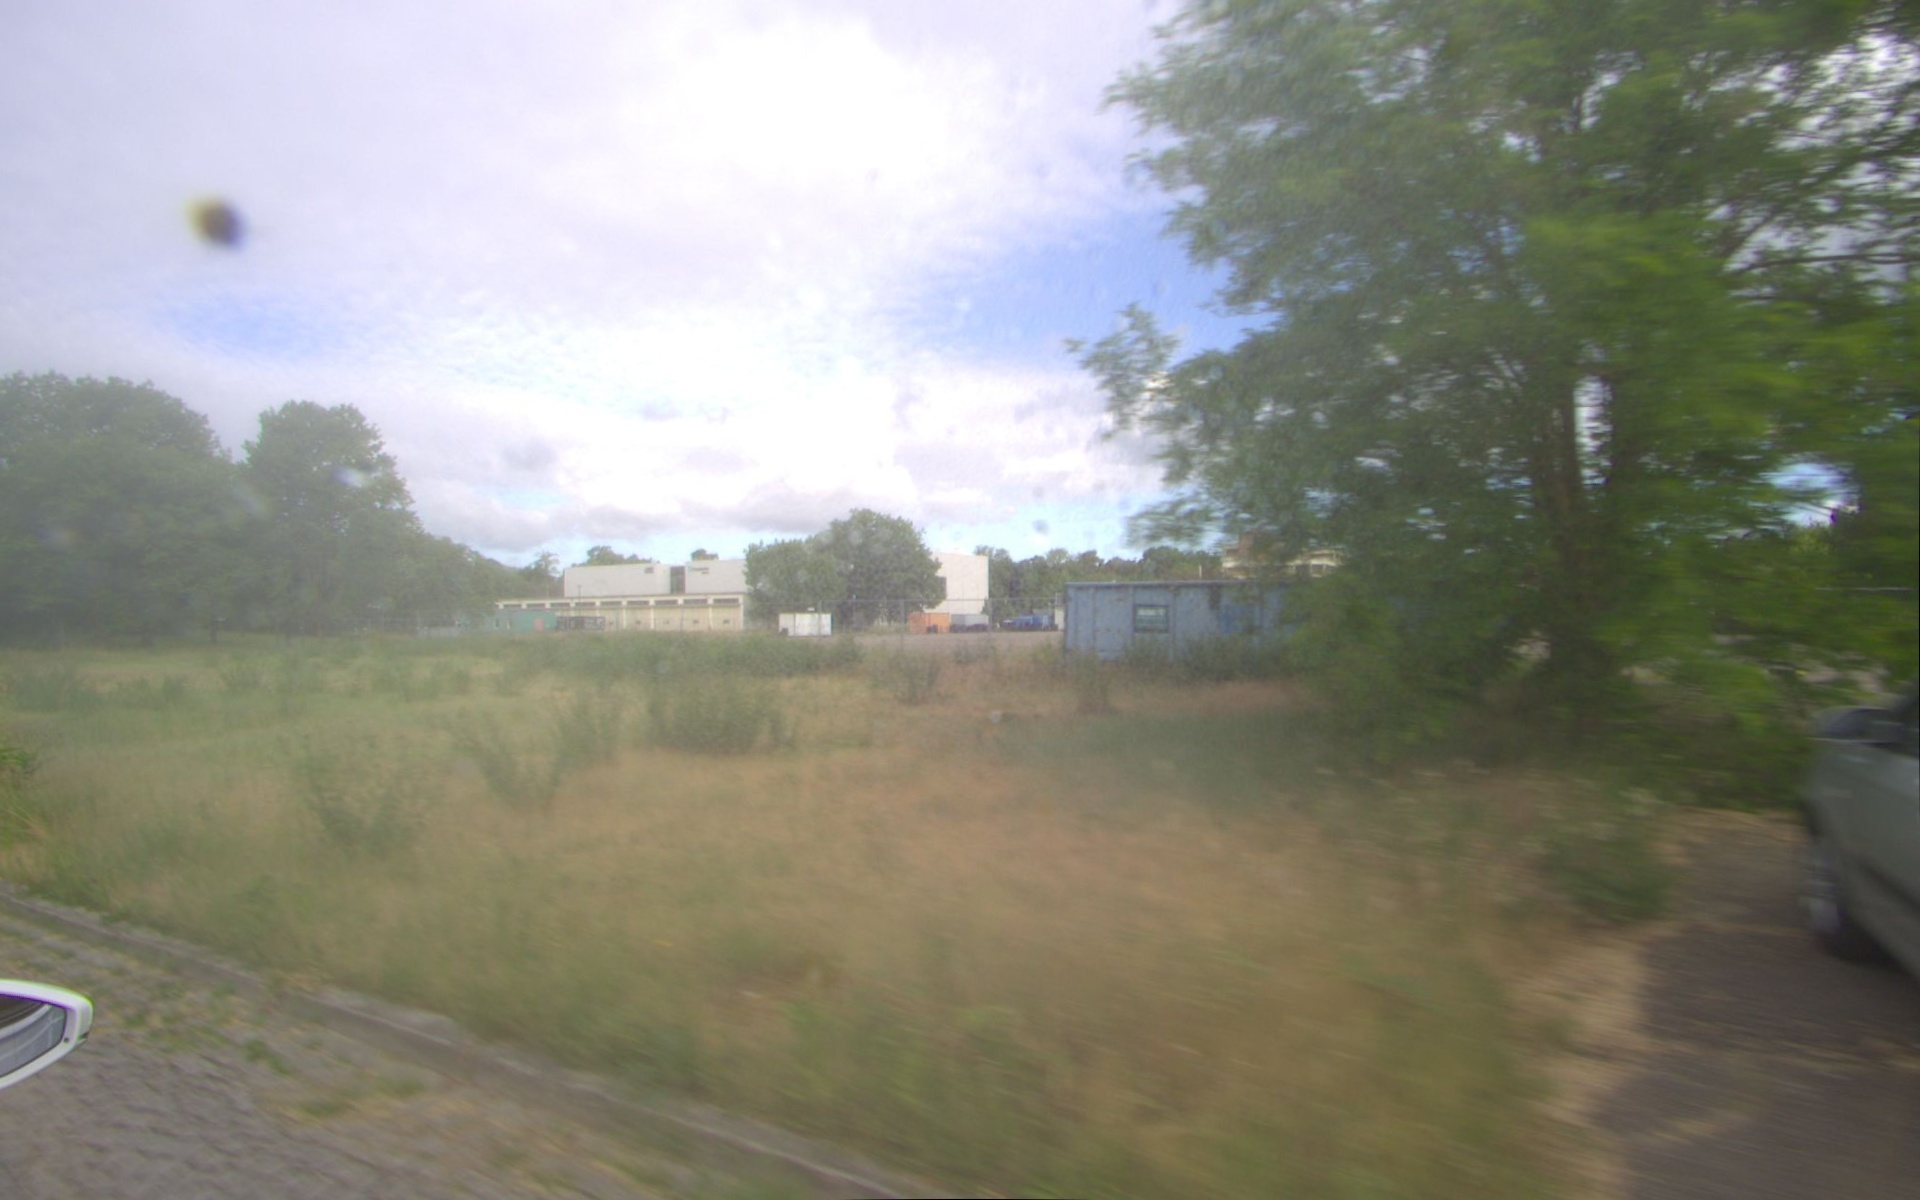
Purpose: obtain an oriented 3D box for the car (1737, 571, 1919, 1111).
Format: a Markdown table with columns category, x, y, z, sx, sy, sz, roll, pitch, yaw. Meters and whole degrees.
| category | x | y | z | sx | sy | sz | roll | pitch | yaw |
| --- | --- | --- | --- | --- | --- | --- | --- | --- | --- |
| car | 3.703 | 0.707 | 2.730 | 1.776 | 1.536 | 4.068 | 0 | 2 | 28 |
